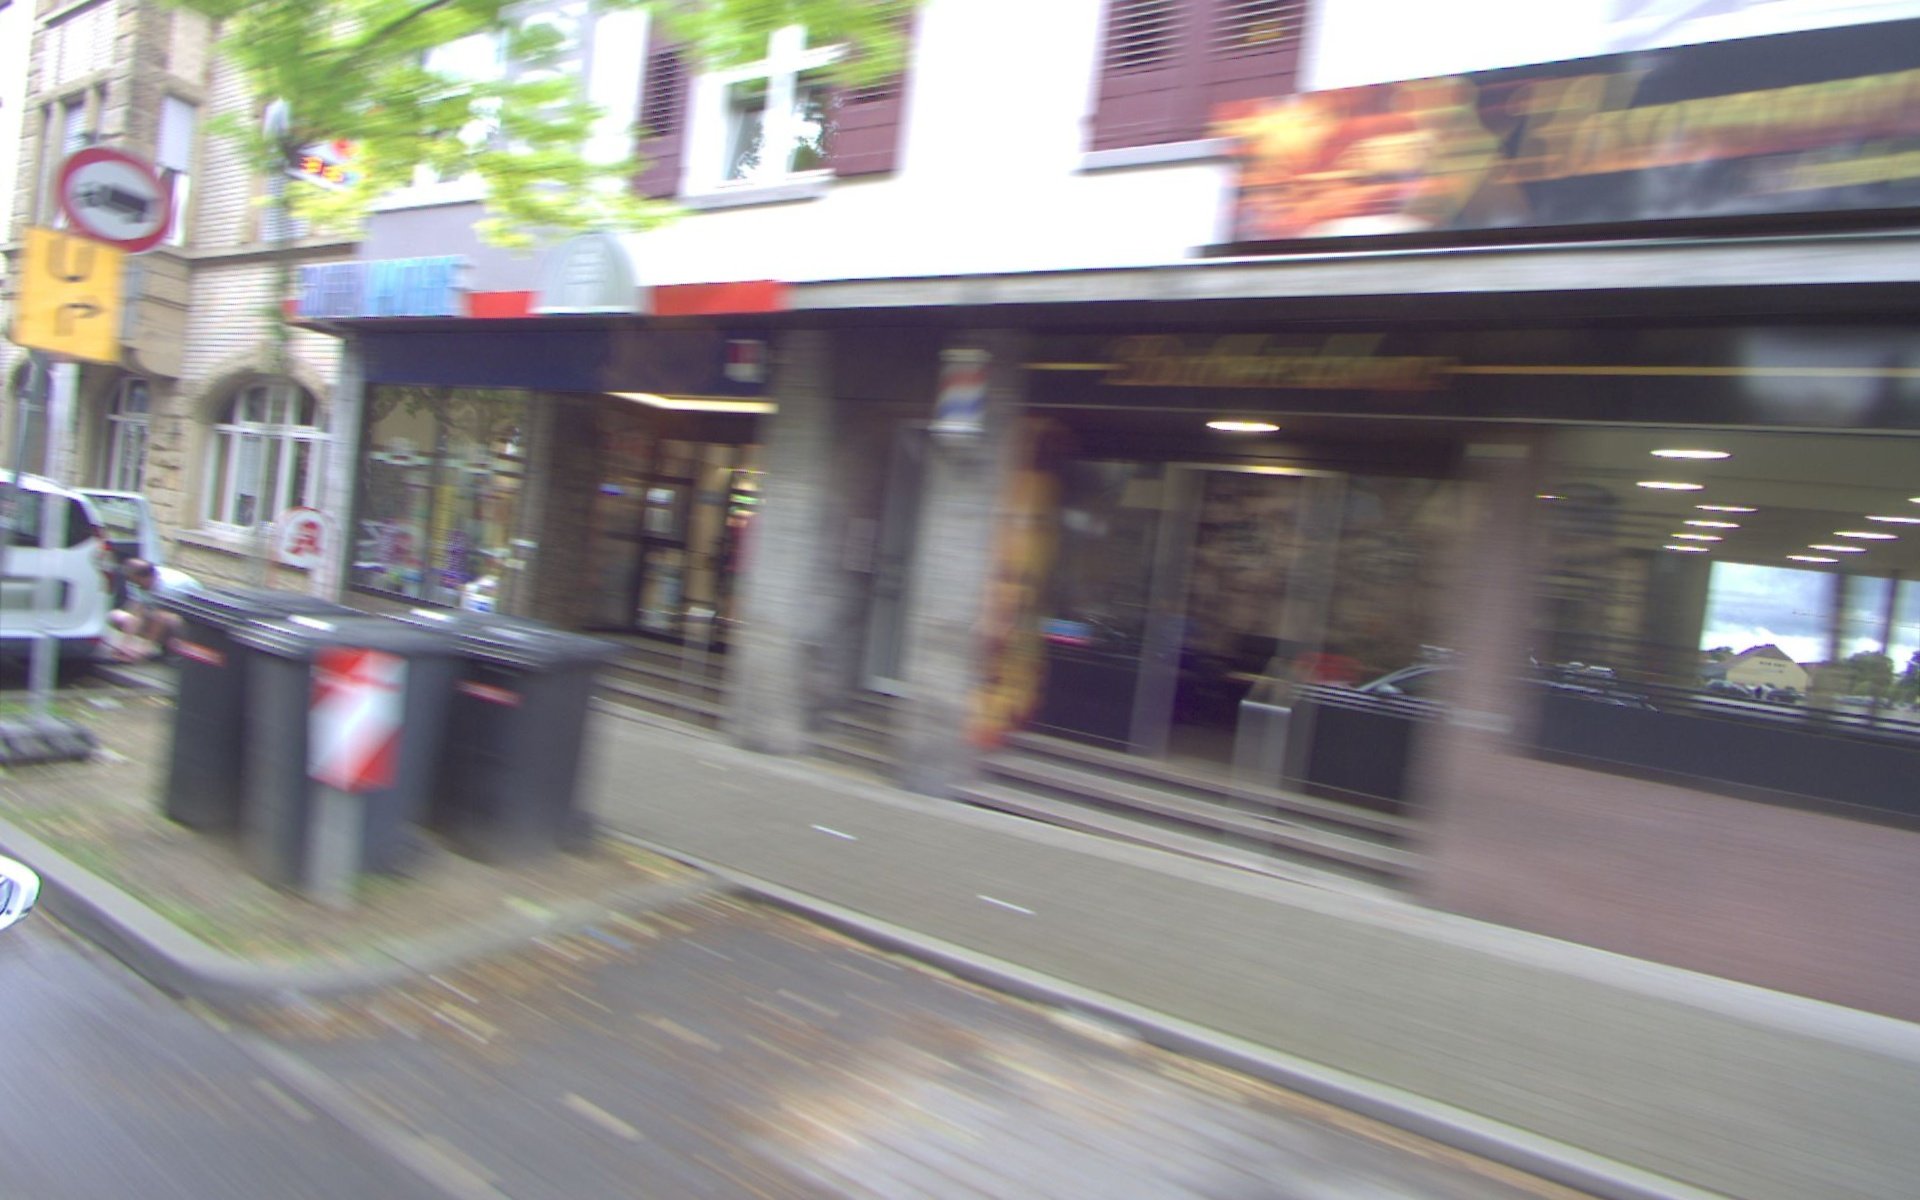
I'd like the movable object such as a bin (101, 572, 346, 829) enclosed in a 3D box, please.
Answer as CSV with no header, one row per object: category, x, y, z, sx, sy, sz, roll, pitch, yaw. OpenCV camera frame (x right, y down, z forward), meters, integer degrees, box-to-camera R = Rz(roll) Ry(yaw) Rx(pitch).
movable object such as a bin,-3.490,0.454,4.782,0.685,1.037,0.623,9,2,29

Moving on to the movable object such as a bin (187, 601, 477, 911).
movable object such as a bin,-2.480,0.573,4.001,0.684,1.037,0.623,7,1,24

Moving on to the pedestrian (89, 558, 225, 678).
pedestrian,-7.134,0.166,8.948,0.681,0.952,0.627,7,-1,26

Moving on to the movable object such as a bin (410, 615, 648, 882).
movable object such as a bin,-2.022,0.670,4.756,0.614,1.086,0.695,7,-1,32

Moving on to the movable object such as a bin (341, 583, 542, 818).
movable object such as a bin,-2.601,0.485,5.064,0.614,1.037,0.577,7,1,32

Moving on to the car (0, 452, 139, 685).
car,-8.879,-0.454,8.276,4.465,1.685,1.680,7,2,28
